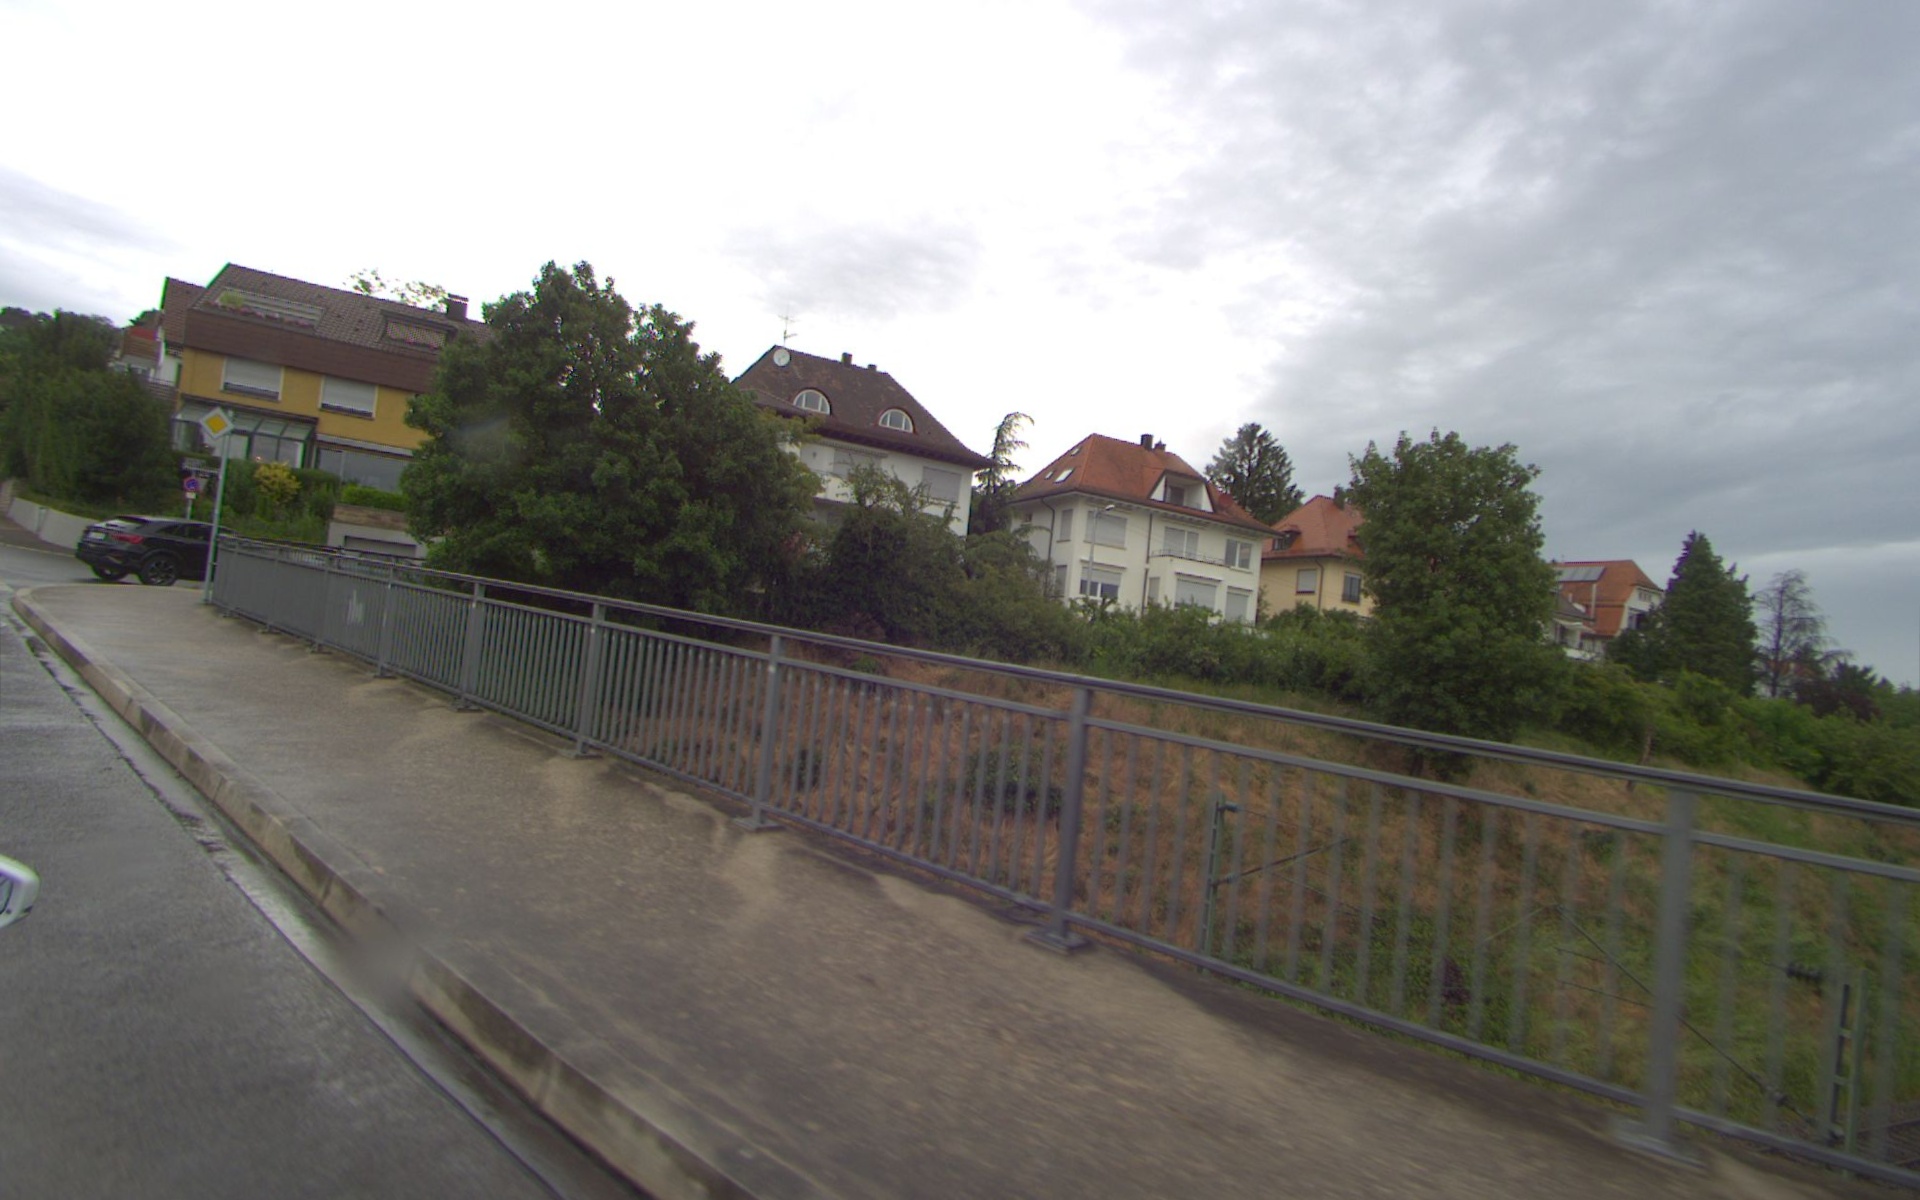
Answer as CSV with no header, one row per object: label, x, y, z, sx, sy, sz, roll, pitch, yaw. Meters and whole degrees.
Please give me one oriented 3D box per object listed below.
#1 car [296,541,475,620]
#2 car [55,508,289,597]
car,-15.773,-0.489,27.807,1.797,1.439,3.785,7,-4,32
car,-17.784,-1.009,22.950,1.793,1.440,3.790,6,-2,14
